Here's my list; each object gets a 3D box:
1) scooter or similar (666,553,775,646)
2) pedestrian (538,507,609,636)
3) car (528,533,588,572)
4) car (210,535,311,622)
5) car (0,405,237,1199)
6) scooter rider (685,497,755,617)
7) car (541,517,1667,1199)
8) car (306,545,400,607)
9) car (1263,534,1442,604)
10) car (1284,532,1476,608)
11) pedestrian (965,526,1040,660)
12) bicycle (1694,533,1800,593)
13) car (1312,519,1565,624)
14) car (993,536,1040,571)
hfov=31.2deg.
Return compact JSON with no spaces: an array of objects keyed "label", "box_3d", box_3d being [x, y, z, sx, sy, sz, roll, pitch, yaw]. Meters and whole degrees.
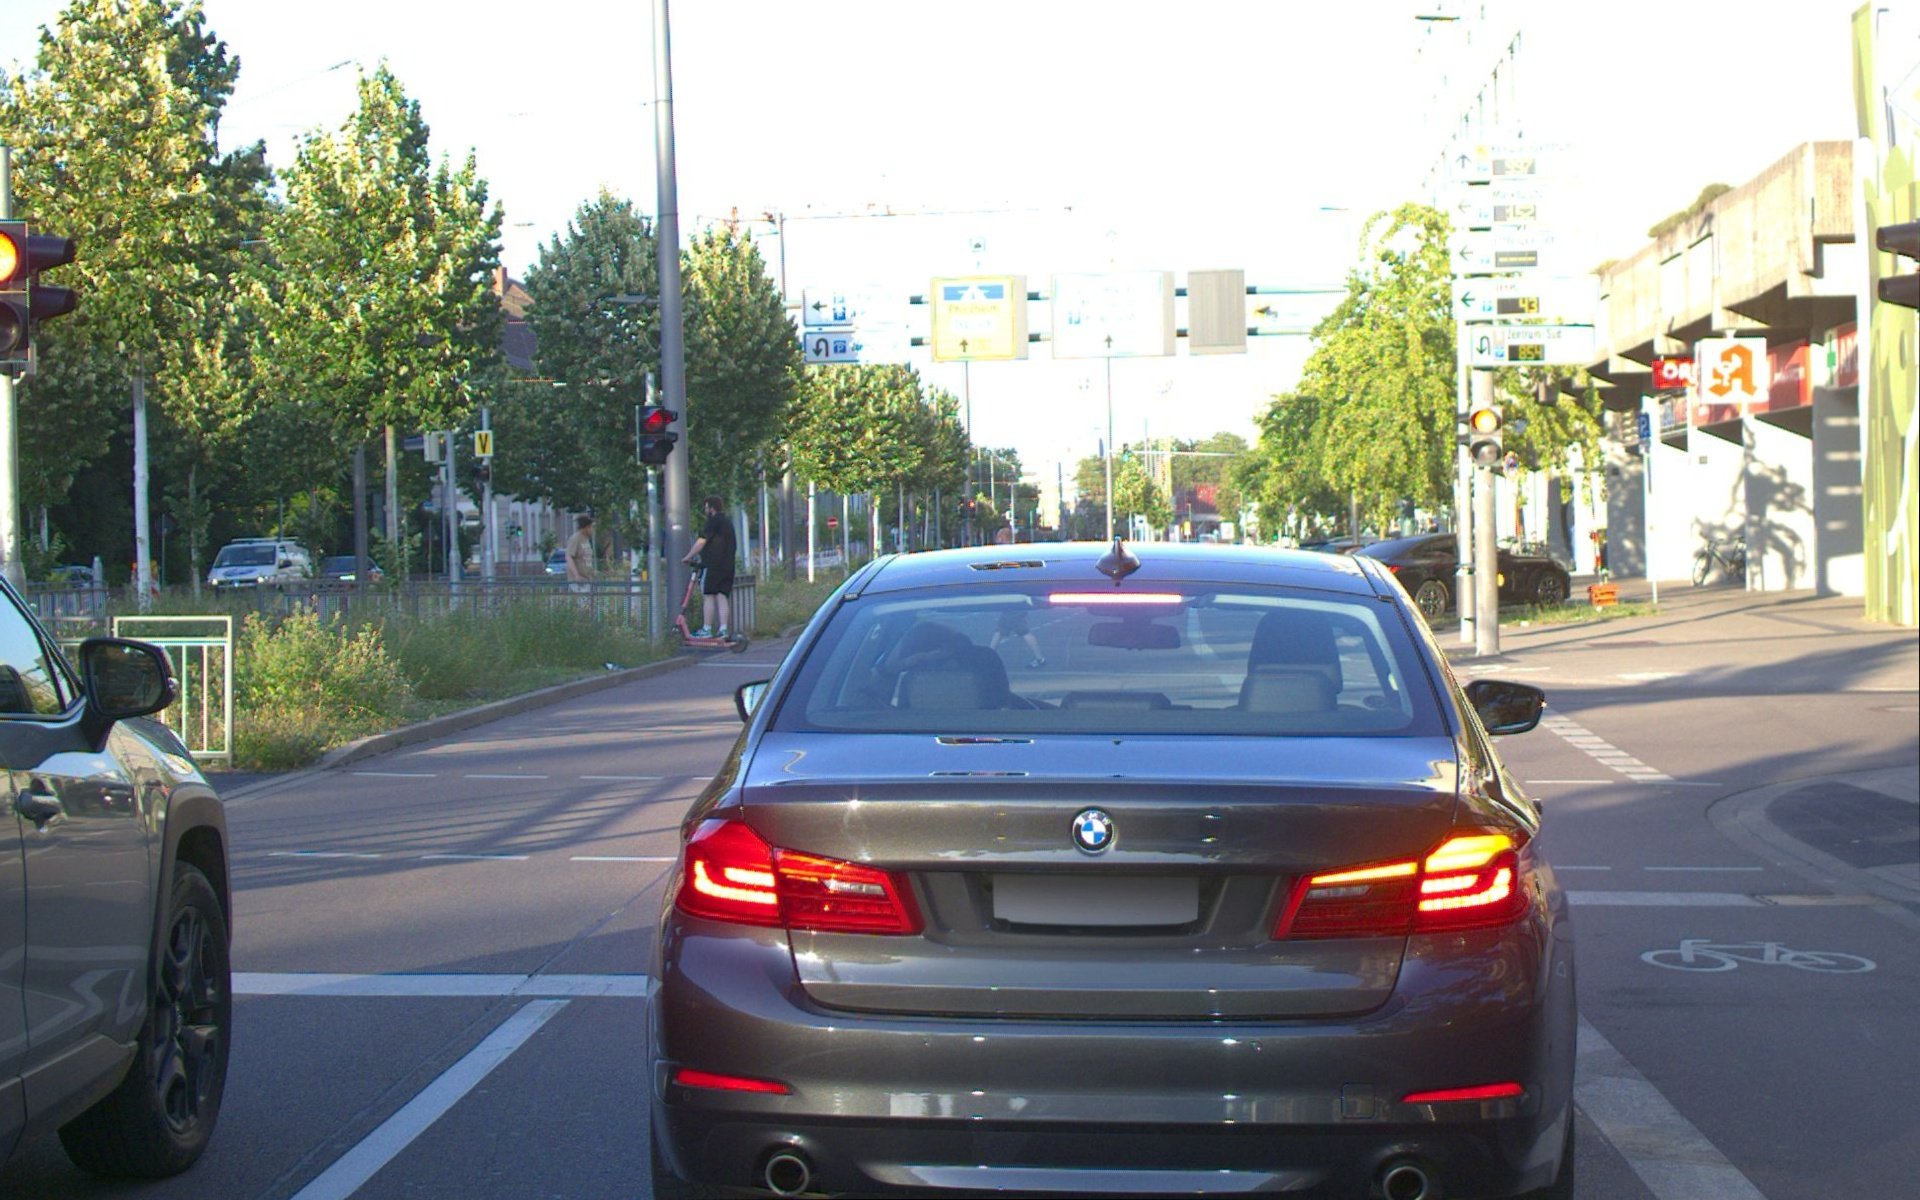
[{"label":"scooter or similar","box_3d":[-3.056,-0.005,43.948,1.329,1.149,0.513,-1,1,0]},{"label":"pedestrian","box_3d":[-5.201,-0.390,46.303,0.835,1.706,0.648,-1,1,1]},{"label":"car","box_3d":[-16.007,-1.898,136.989,1.800,1.476,3.783,-1,1,3]},{"label":"car","box_3d":[-18.536,-0.603,91.287,1.993,2.160,4.752,0,2,-3]},{"label":"car","box_3d":[-2.636,0.470,6.320,1.854,1.653,4.269,0,2,-2]},{"label":"scooter rider","box_3d":[-3.069,-0.554,43.970,0.820,1.509,0.653,-1,1,0]},{"label":"car","box_3d":[0.351,0.573,8.184,1.932,1.476,4.522,0,2,3]},{"label":"car","box_3d":[-18.441,-0.757,104.648,1.993,1.738,4.751,0,2,1]},{"label":"car","box_3d":[9.875,-0.796,86.421,4.254,1.653,1.861,-1,2,-33]},{"label":"car","box_3d":[9.833,-0.721,80.368,4.255,1.653,1.861,-1,2,-33]},{"label":"pedestrian","box_3d":[0.516,-0.092,41.499,0.835,1.581,0.812,-1,1,3]},{"label":"bicycle","box_3d":[16.018,-0.750,70.014,2.017,1.145,0.690,2,0,9]},{"label":"car","box_3d":[8.101,-0.506,58.081,4.256,1.653,1.860,-2,3,-40]},{"label":"car","box_3d":[2.458,-2.021,148.494,1.979,1.428,4.843,0,2,2]}]
